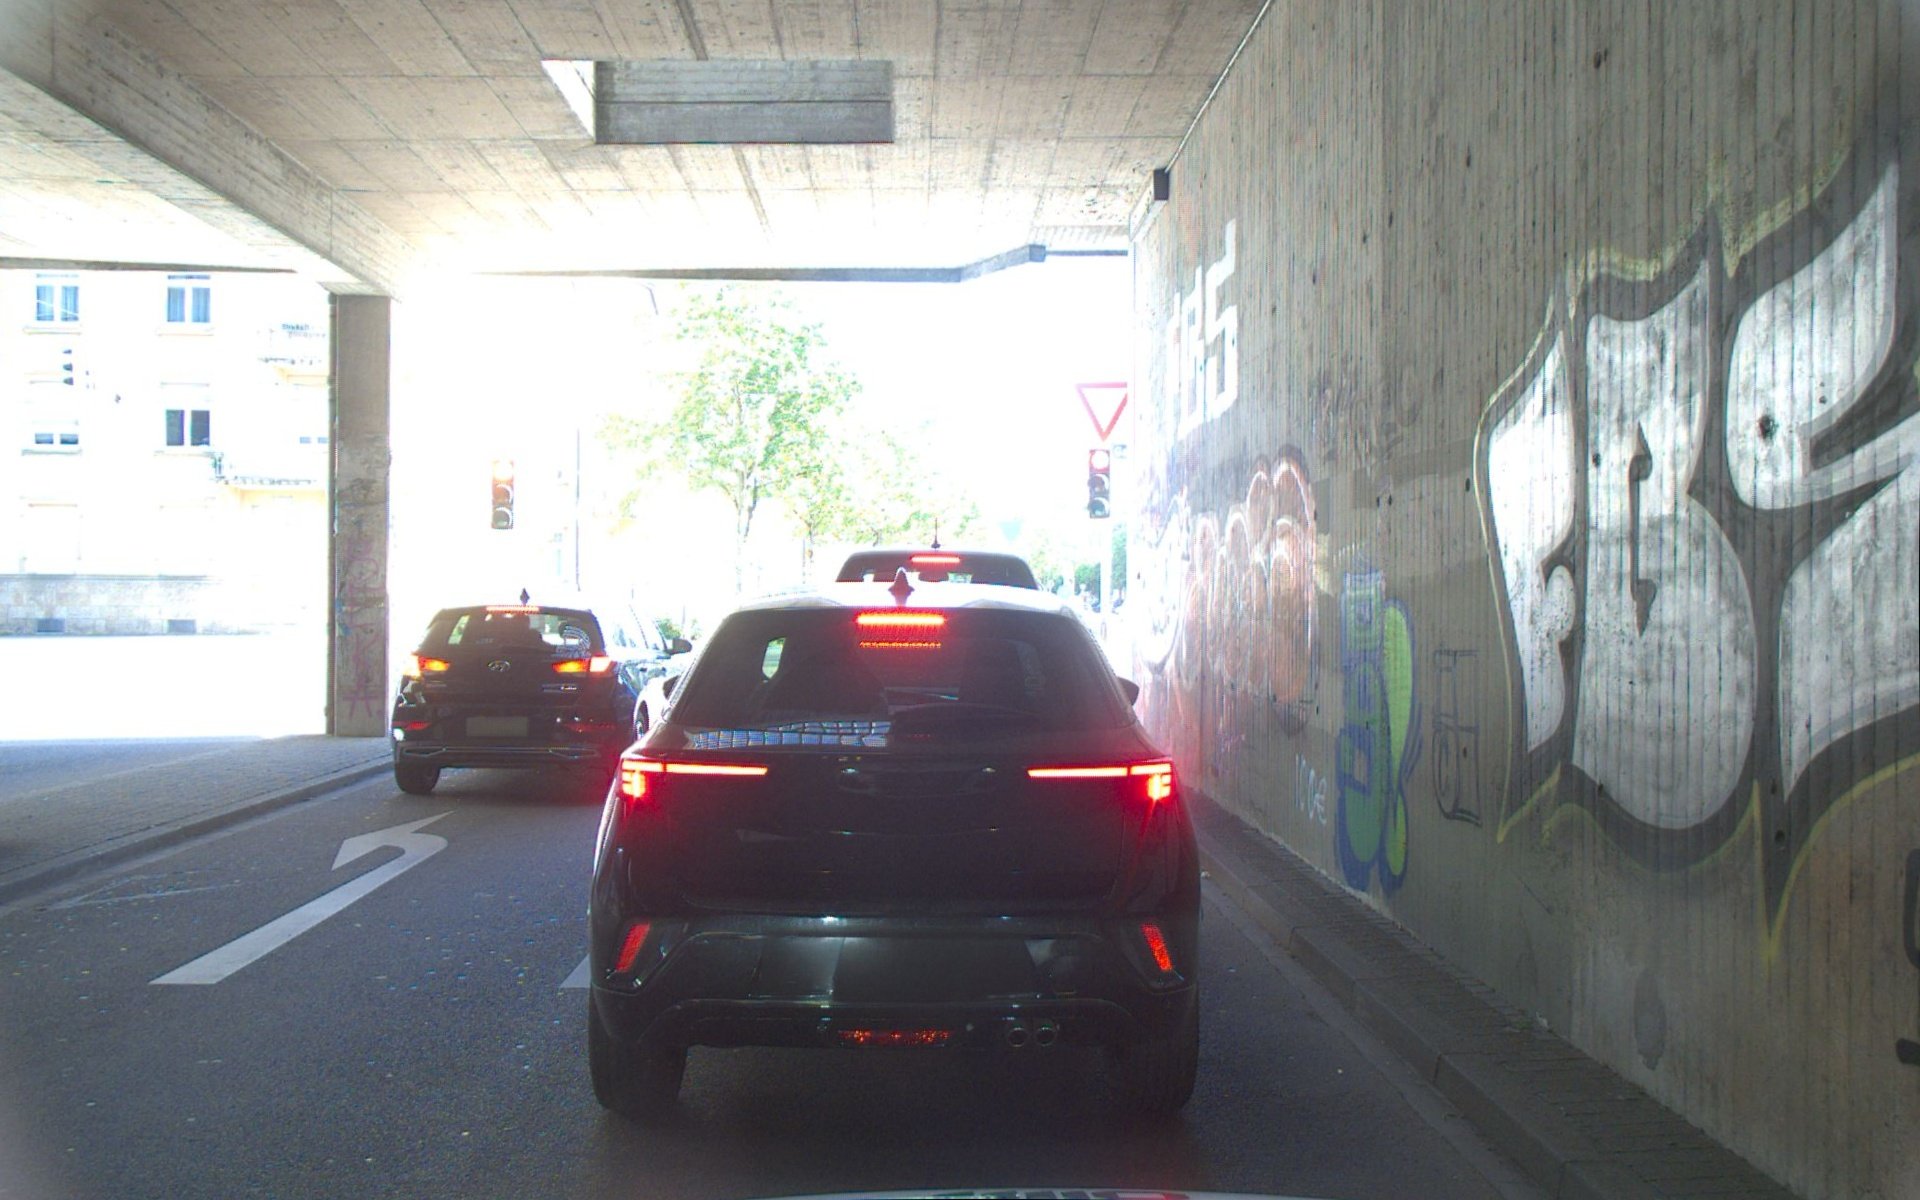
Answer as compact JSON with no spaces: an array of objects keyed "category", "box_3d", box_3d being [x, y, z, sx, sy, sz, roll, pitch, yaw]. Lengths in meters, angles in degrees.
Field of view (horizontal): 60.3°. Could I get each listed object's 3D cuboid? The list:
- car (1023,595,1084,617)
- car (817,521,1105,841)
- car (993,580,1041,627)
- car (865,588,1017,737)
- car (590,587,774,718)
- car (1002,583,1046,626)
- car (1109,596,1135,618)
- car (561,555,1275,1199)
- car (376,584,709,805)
[{"category":"car","box_3d":[7.603,0.474,134.332,4.751,1.696,1.804,1,0,-31]},{"category":"car","box_3d":[-0.022,0.484,12.003,1.726,1.915,4.145,0,0,-1]},{"category":"car","box_3d":[2.176,0.140,62.198,1.717,1.696,3.946,1,0,3]},{"category":"car","box_3d":[-0.230,0.647,19.217,1.576,1.539,4.053,0,0,-1]},{"category":"car","box_3d":[-3.412,0.599,20.920,1.726,1.506,3.843,0,0,-1]},{"category":"car","box_3d":[2.664,0.171,68.324,1.717,1.696,3.946,1,0,3]},{"category":"car","box_3d":[12.909,0.579,131.377,1.716,1.696,3.948,1,0,10]},{"category":"car","box_3d":[-0.127,0.668,6.058,1.726,1.558,4.088,0,0,-1]},{"category":"car","box_3d":[-3.139,0.641,13.200,1.726,1.506,3.843,0,0,-1]}]
